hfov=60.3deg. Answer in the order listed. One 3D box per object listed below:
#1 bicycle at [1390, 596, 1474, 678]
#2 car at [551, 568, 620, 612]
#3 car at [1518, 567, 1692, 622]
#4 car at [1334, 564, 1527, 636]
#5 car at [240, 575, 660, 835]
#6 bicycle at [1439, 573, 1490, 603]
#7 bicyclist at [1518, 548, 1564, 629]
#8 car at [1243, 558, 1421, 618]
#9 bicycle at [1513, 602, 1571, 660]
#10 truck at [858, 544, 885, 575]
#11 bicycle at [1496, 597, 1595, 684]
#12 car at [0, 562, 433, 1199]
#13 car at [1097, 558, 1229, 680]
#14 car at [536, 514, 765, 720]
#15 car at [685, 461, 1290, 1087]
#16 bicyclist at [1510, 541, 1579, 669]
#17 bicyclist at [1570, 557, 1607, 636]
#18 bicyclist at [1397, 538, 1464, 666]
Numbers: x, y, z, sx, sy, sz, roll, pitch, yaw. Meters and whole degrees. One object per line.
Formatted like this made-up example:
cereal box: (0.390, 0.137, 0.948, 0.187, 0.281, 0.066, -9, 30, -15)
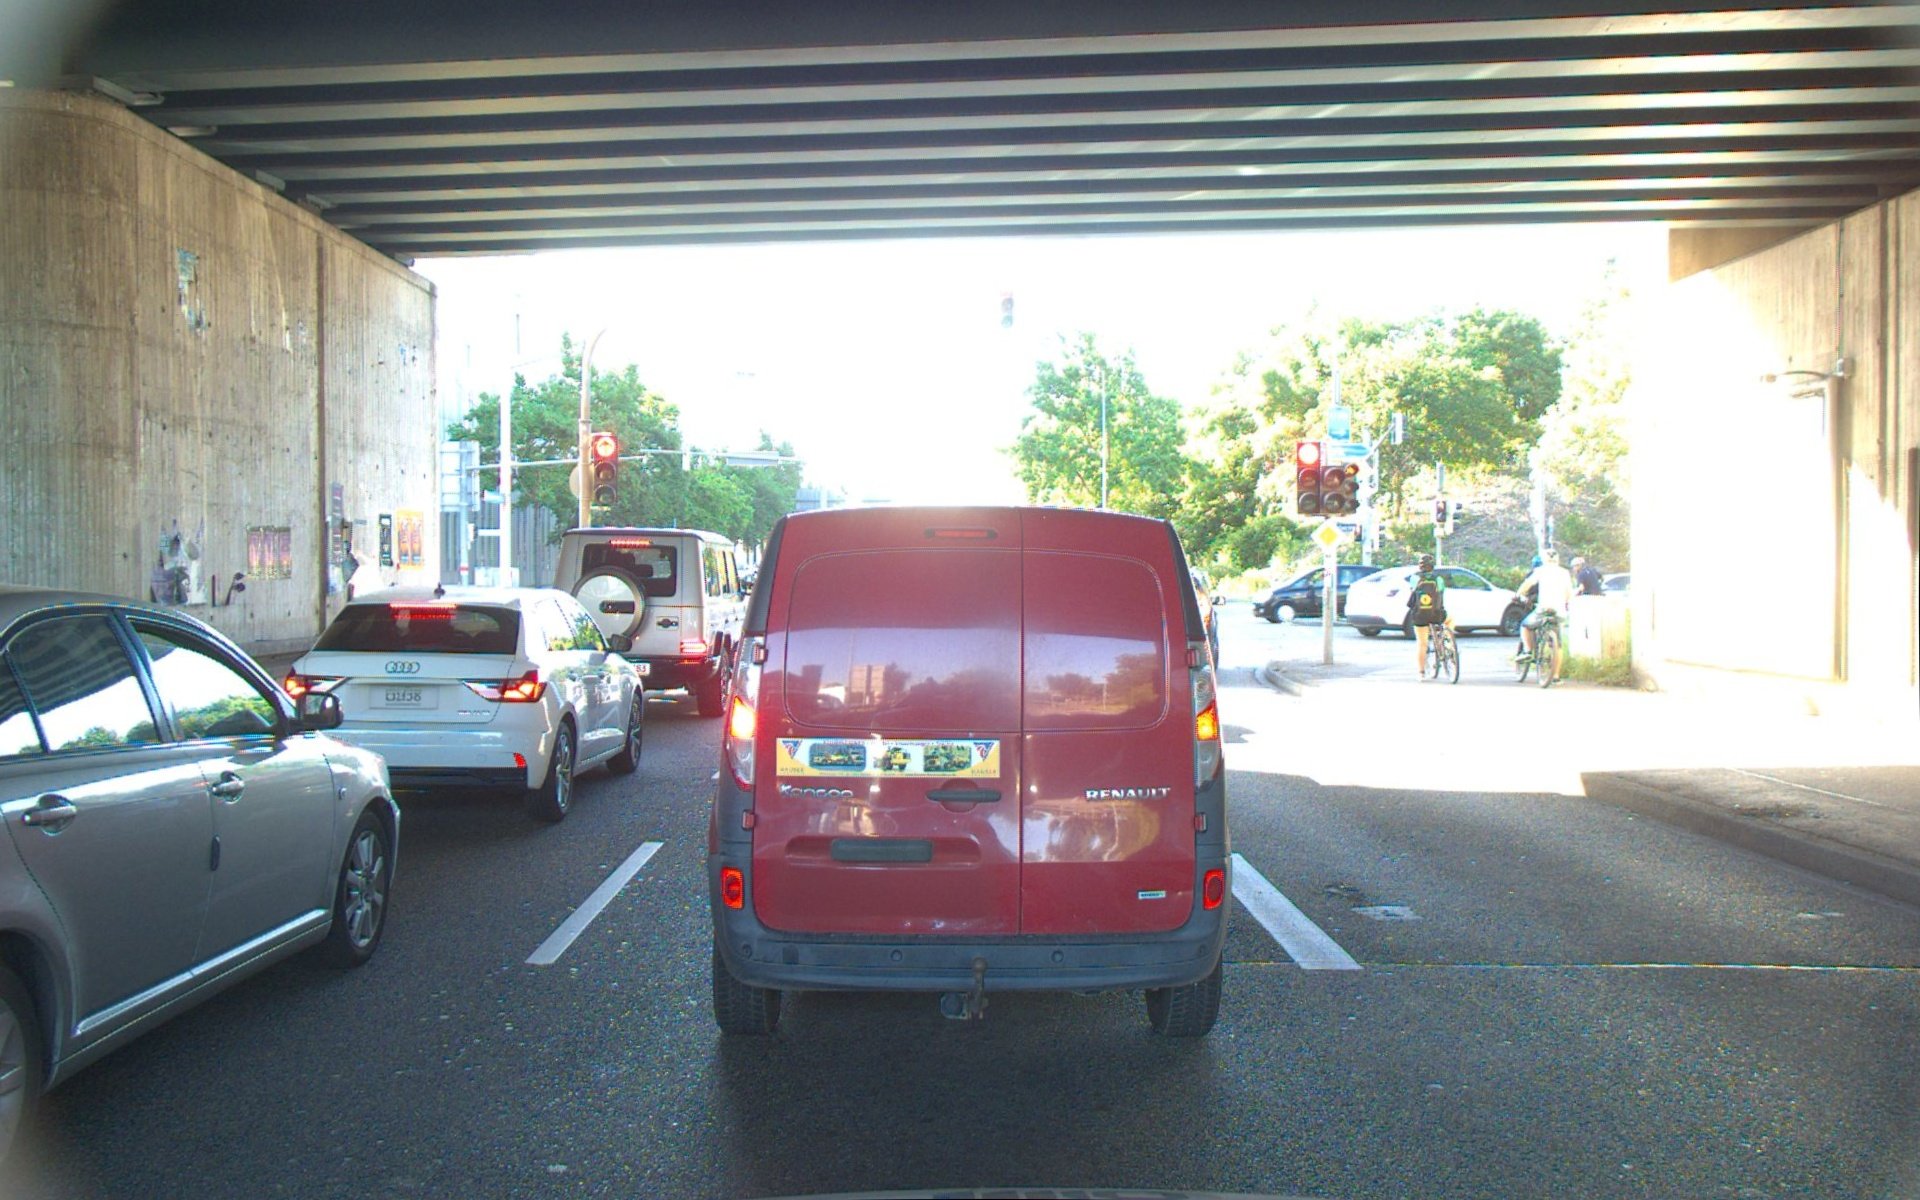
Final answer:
bicycle: (6.208, 0.472, 21.832, 0.579, 1.041, 1.750, 1, 0, -1)
car: (-16.116, -0.447, 71.366, 1.787, 1.768, 4.630, -2, 1, 1)
car: (18.978, -0.156, 48.819, 4.451, 1.540, 1.829, 1, 0, 6)
car: (10.857, -0.005, 38.166, 4.128, 1.570, 1.871, 0, 0, -26)
car: (-3.255, 0.575, 11.331, 1.777, 1.463, 3.730, 1, 1, -1)
bicycle: (18.355, -0.440, 60.201, 1.707, 1.041, 0.594, 1, 0, 10)
bicyclist: (10.948, -0.215, 31.180, 0.651, 1.500, 0.751, 1, -1, 8)
car: (10.231, -0.320, 45.647, 4.460, 1.540, 1.826, 1, 0, -6)
bicycle: (10.936, 0.576, 31.128, 0.657, 1.041, 2.057, 1, 0, 9)
truck: (-9.378, -4.270, 175.336, 2.360, 3.079, 6.657, -2, 1, 0)
bicycle: (7.326, 0.487, 20.769, 0.579, 1.041, 1.750, 1, 0, -1)
car: (-3.009, 0.663, 4.833, 1.698, 1.506, 4.317, 0, 0, -2)
car: (3.074, 0.265, 25.726, 1.683, 1.736, 3.982, 0, 0, 2)
car: (-3.357, 0.182, 18.780, 1.764, 2.023, 4.588, 1, 0, -1)
car: (0.058, 0.527, 6.899, 1.768, 1.826, 3.999, 1, 0, -1)
bicyclist: (7.332, 0.061, 20.767, 0.580, 1.575, 0.769, 1, -1, -1)
bicyclist: (12.292, -0.078, 32.349, 0.635, 1.506, 0.618, 1, 1, 18)
bicyclist: (6.200, 0.028, 21.831, 0.580, 1.642, 0.942, 1, 0, -1)
